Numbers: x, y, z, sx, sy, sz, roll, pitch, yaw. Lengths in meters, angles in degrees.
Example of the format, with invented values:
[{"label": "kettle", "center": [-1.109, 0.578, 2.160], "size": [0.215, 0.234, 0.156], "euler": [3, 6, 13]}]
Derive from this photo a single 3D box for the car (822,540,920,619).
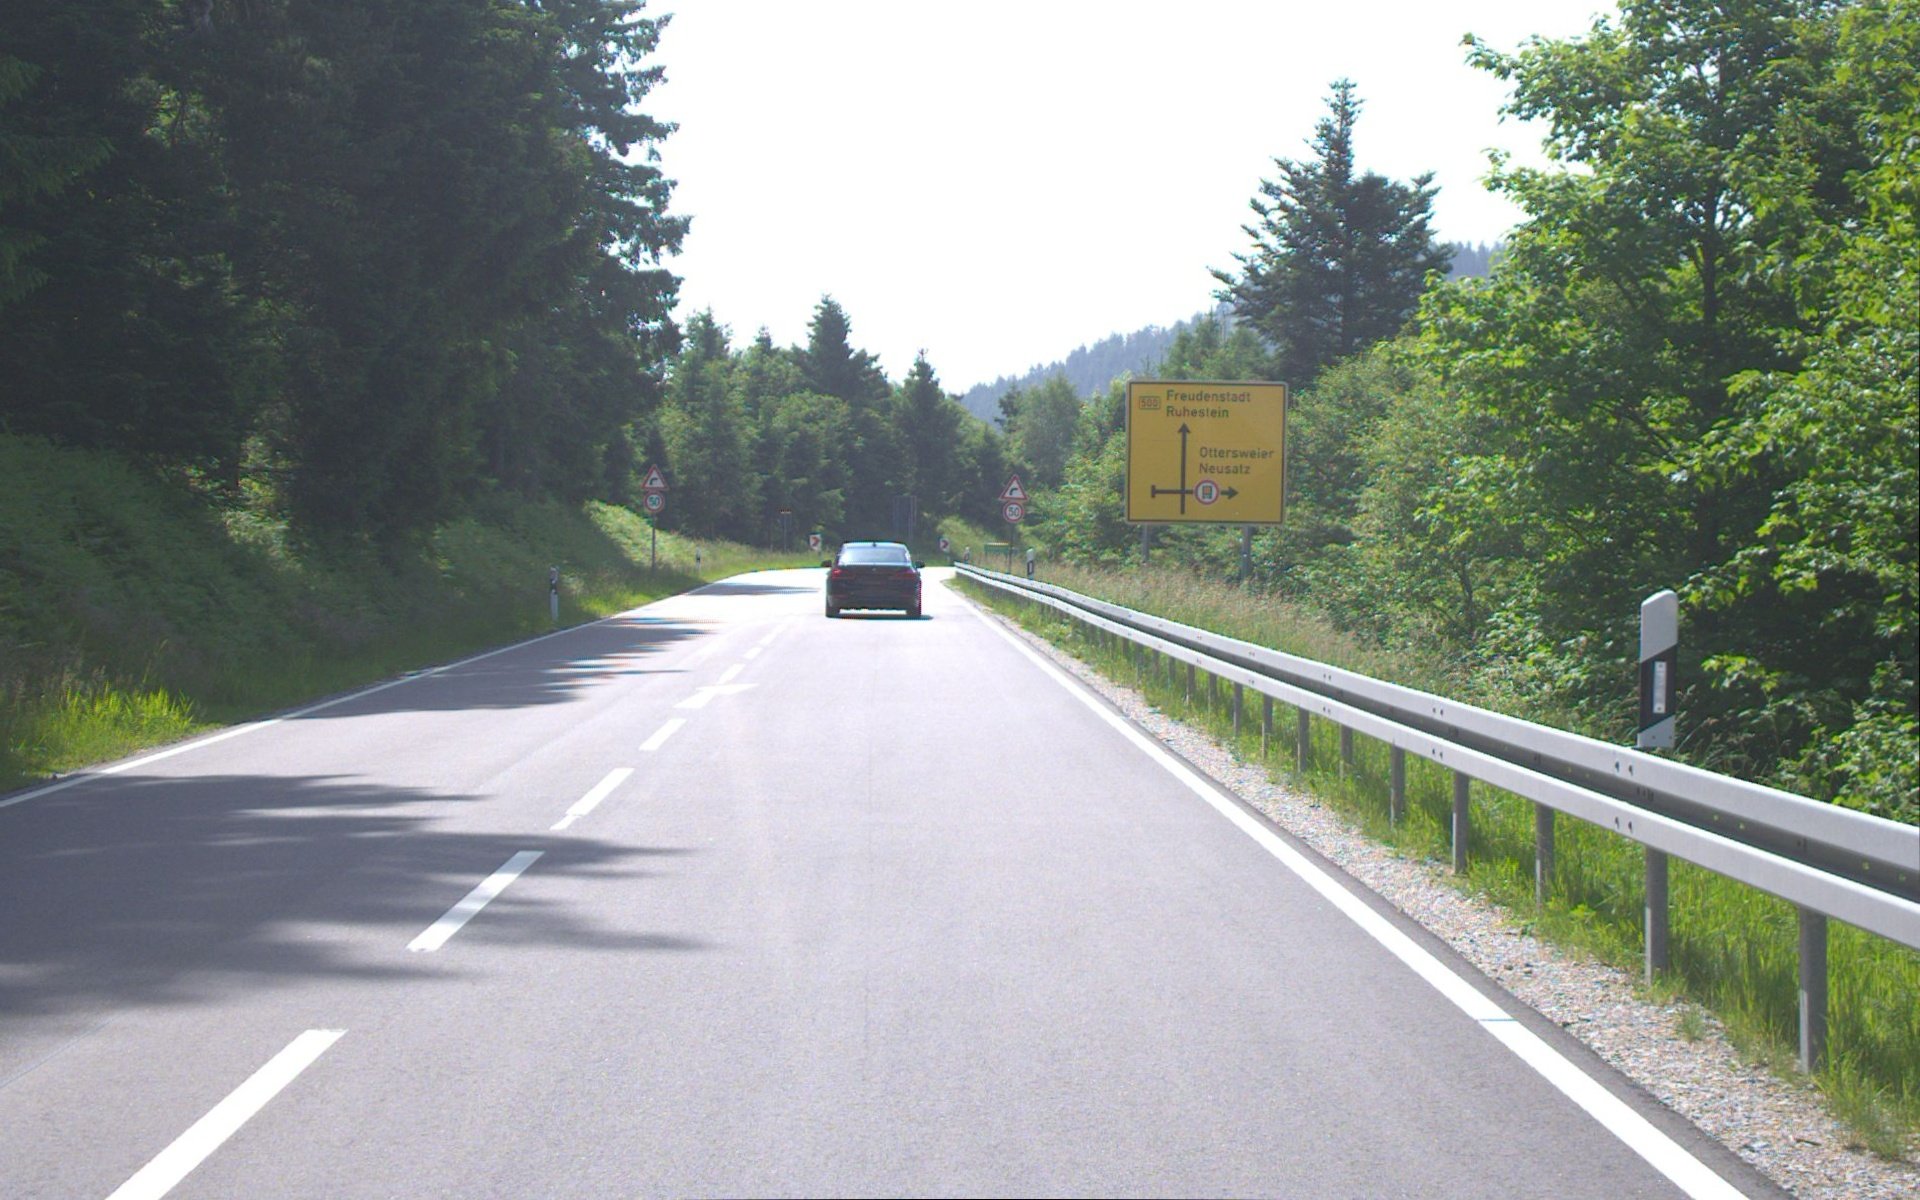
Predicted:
[{"label": "car", "center": [-1.670, -0.403, 65.404], "size": [1.776, 1.437, 3.709], "euler": [-1, 1, 0]}]
